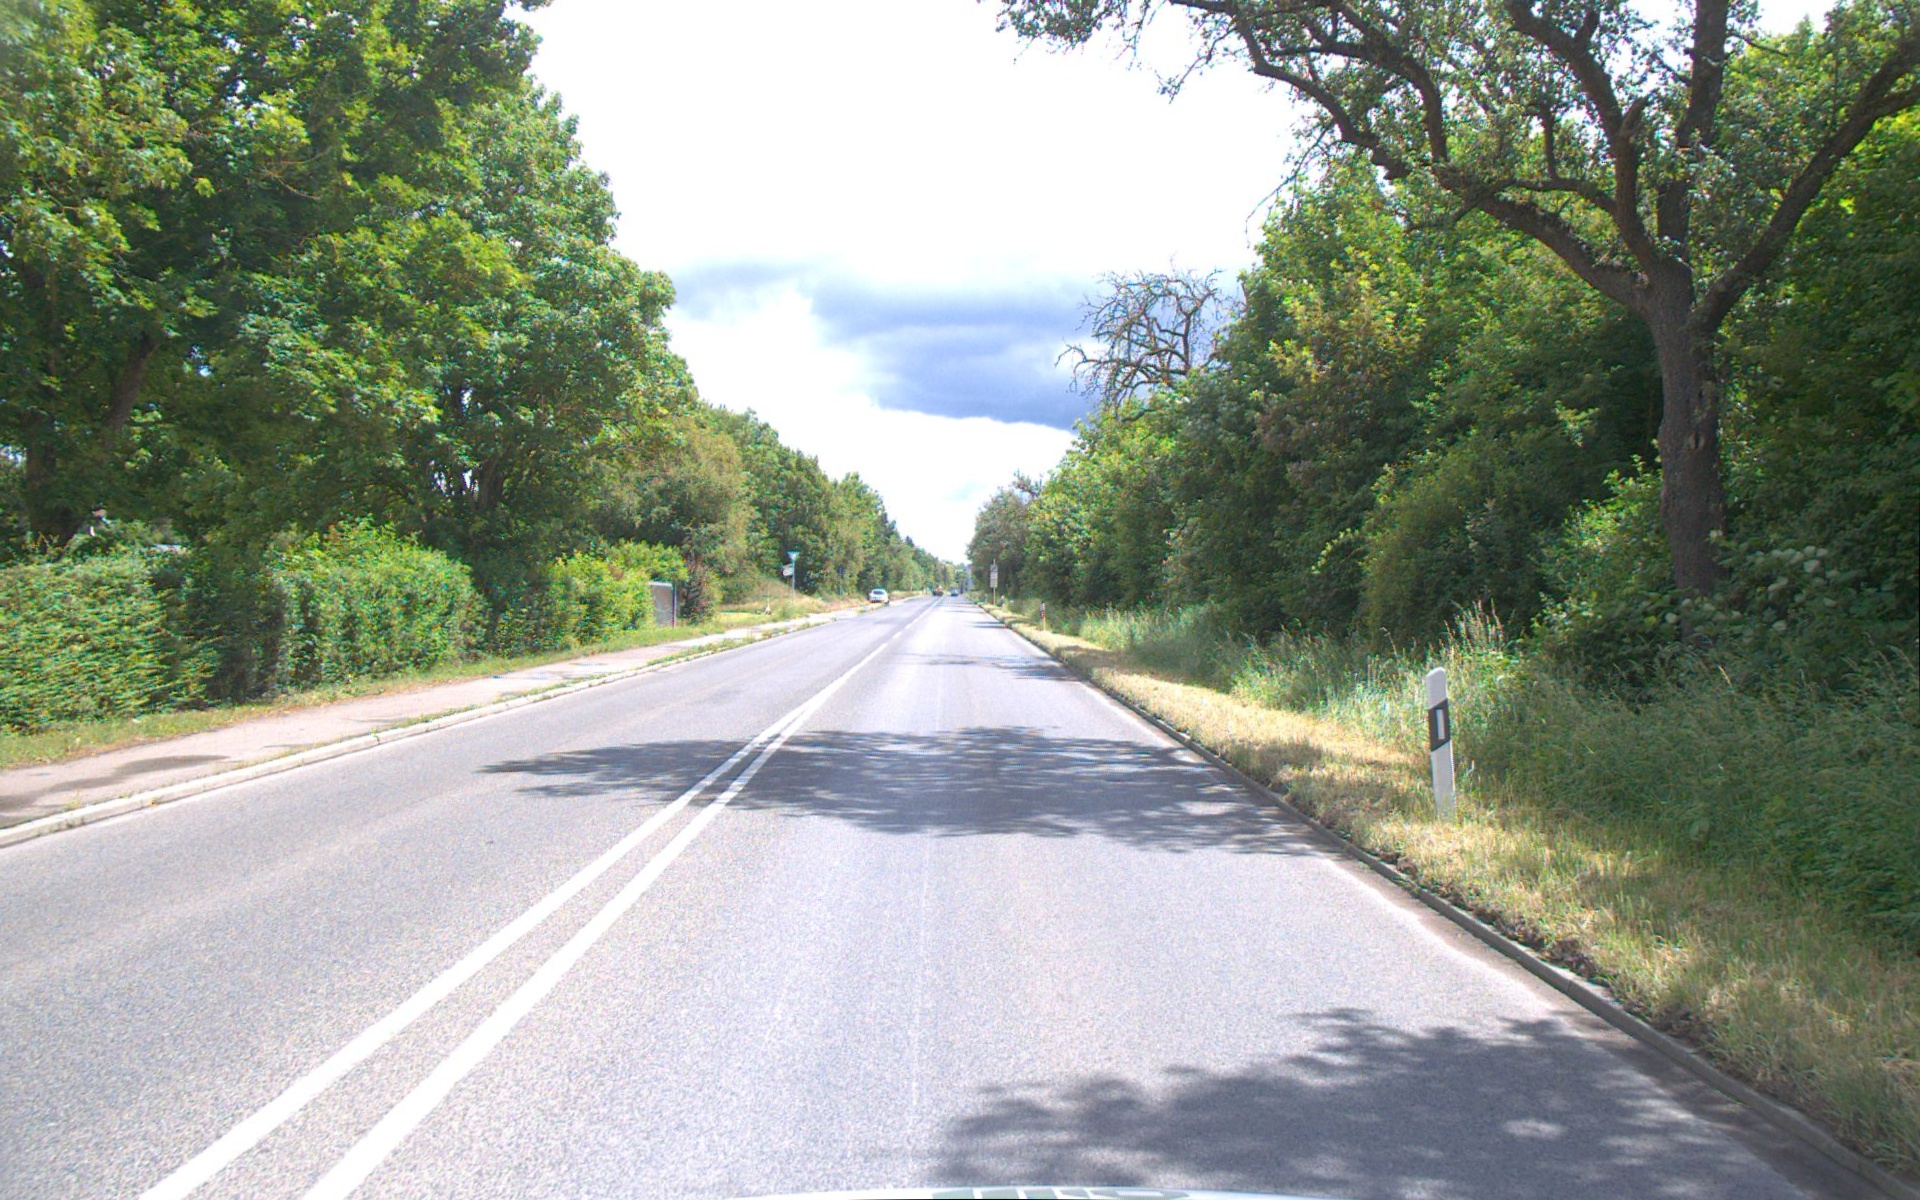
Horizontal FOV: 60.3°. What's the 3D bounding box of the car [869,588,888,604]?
[{"bbox_3d":[-8.254,-0.400,168.340,1.761,1.570,3.954,0,-1,0],"label":"car"}]
